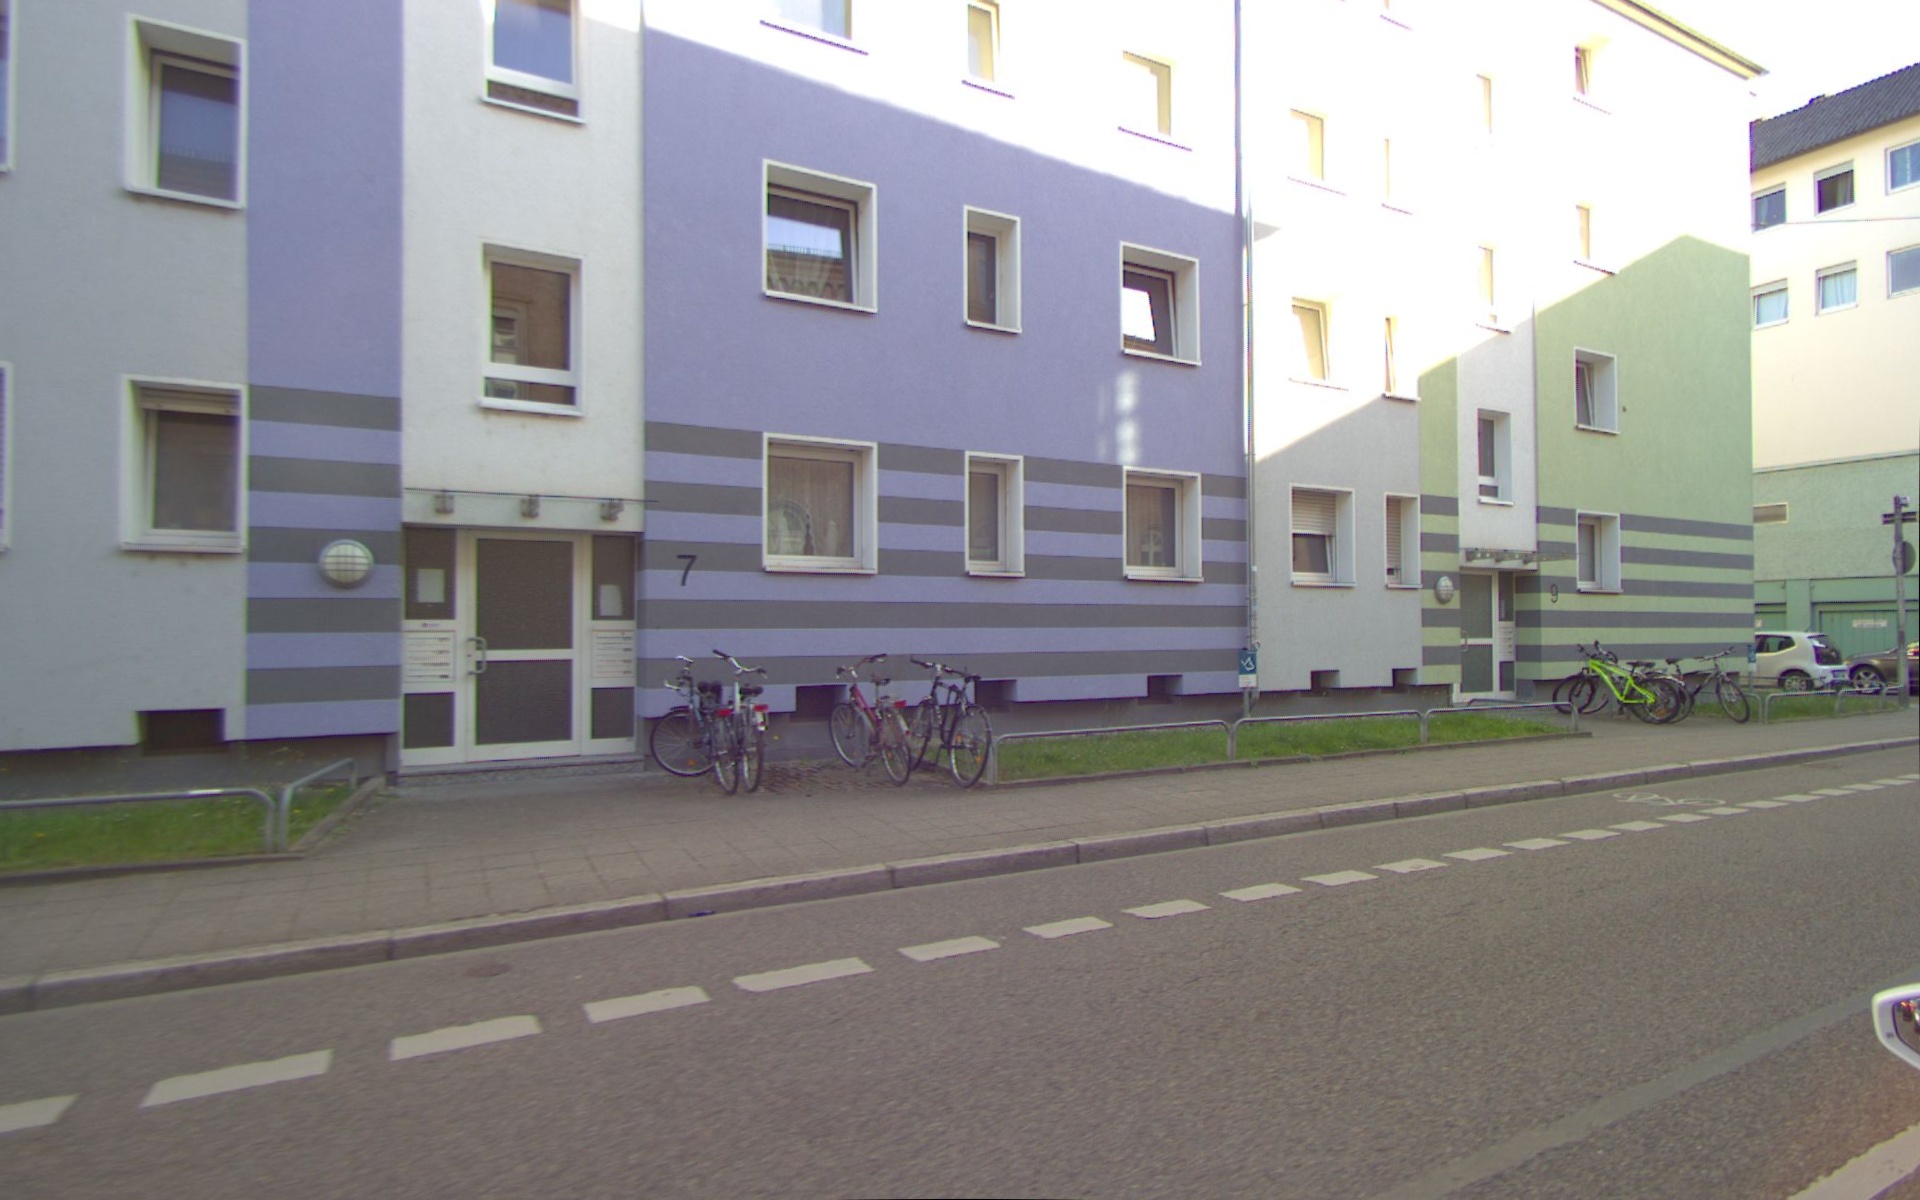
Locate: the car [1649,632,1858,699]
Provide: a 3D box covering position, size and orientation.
[{"bbox_3d":[18.844,1.510,23.996,1.790,1.462,3.488,0,-2,-27],"label":"car"}]

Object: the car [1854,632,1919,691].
[{"bbox_3d":[25.030,1.505,24.722,1.922,1.462,4.084,0,-2,-27],"label":"car"}]

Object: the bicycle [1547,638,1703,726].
[{"bbox_3d":[10.330,1.237,15.663,0.609,1.195,1.910,1,1,-44],"label":"bicycle"}]

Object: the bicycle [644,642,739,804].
[{"bbox_3d":[-2.359,1.002,8.721,0.380,1.258,1.572,1,-2,-31],"label":"bicycle"}]

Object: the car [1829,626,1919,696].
[{"bbox_3d":[22.478,1.358,22.203,1.968,1.562,4.612,0,-2,-17],"label":"car"}]

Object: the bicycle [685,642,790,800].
[{"bbox_3d":[-2.007,1.013,8.937,0.444,1.258,1.576,1,-2,-31],"label":"bicycle"}]

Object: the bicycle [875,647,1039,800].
[{"bbox_3d":[-0.084,1.085,9.486,0.616,1.247,1.998,1,-2,-31],"label":"bicycle"}]

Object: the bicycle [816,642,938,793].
[{"bbox_3d":[-0.802,1.027,9.317,0.462,1.258,1.631,1,-2,-31],"label":"bicycle"}]

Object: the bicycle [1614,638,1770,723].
[{"bbox_3d":[11.719,1.251,16.144,0.608,1.195,1.914,1,1,-37],"label":"bicycle"}]
